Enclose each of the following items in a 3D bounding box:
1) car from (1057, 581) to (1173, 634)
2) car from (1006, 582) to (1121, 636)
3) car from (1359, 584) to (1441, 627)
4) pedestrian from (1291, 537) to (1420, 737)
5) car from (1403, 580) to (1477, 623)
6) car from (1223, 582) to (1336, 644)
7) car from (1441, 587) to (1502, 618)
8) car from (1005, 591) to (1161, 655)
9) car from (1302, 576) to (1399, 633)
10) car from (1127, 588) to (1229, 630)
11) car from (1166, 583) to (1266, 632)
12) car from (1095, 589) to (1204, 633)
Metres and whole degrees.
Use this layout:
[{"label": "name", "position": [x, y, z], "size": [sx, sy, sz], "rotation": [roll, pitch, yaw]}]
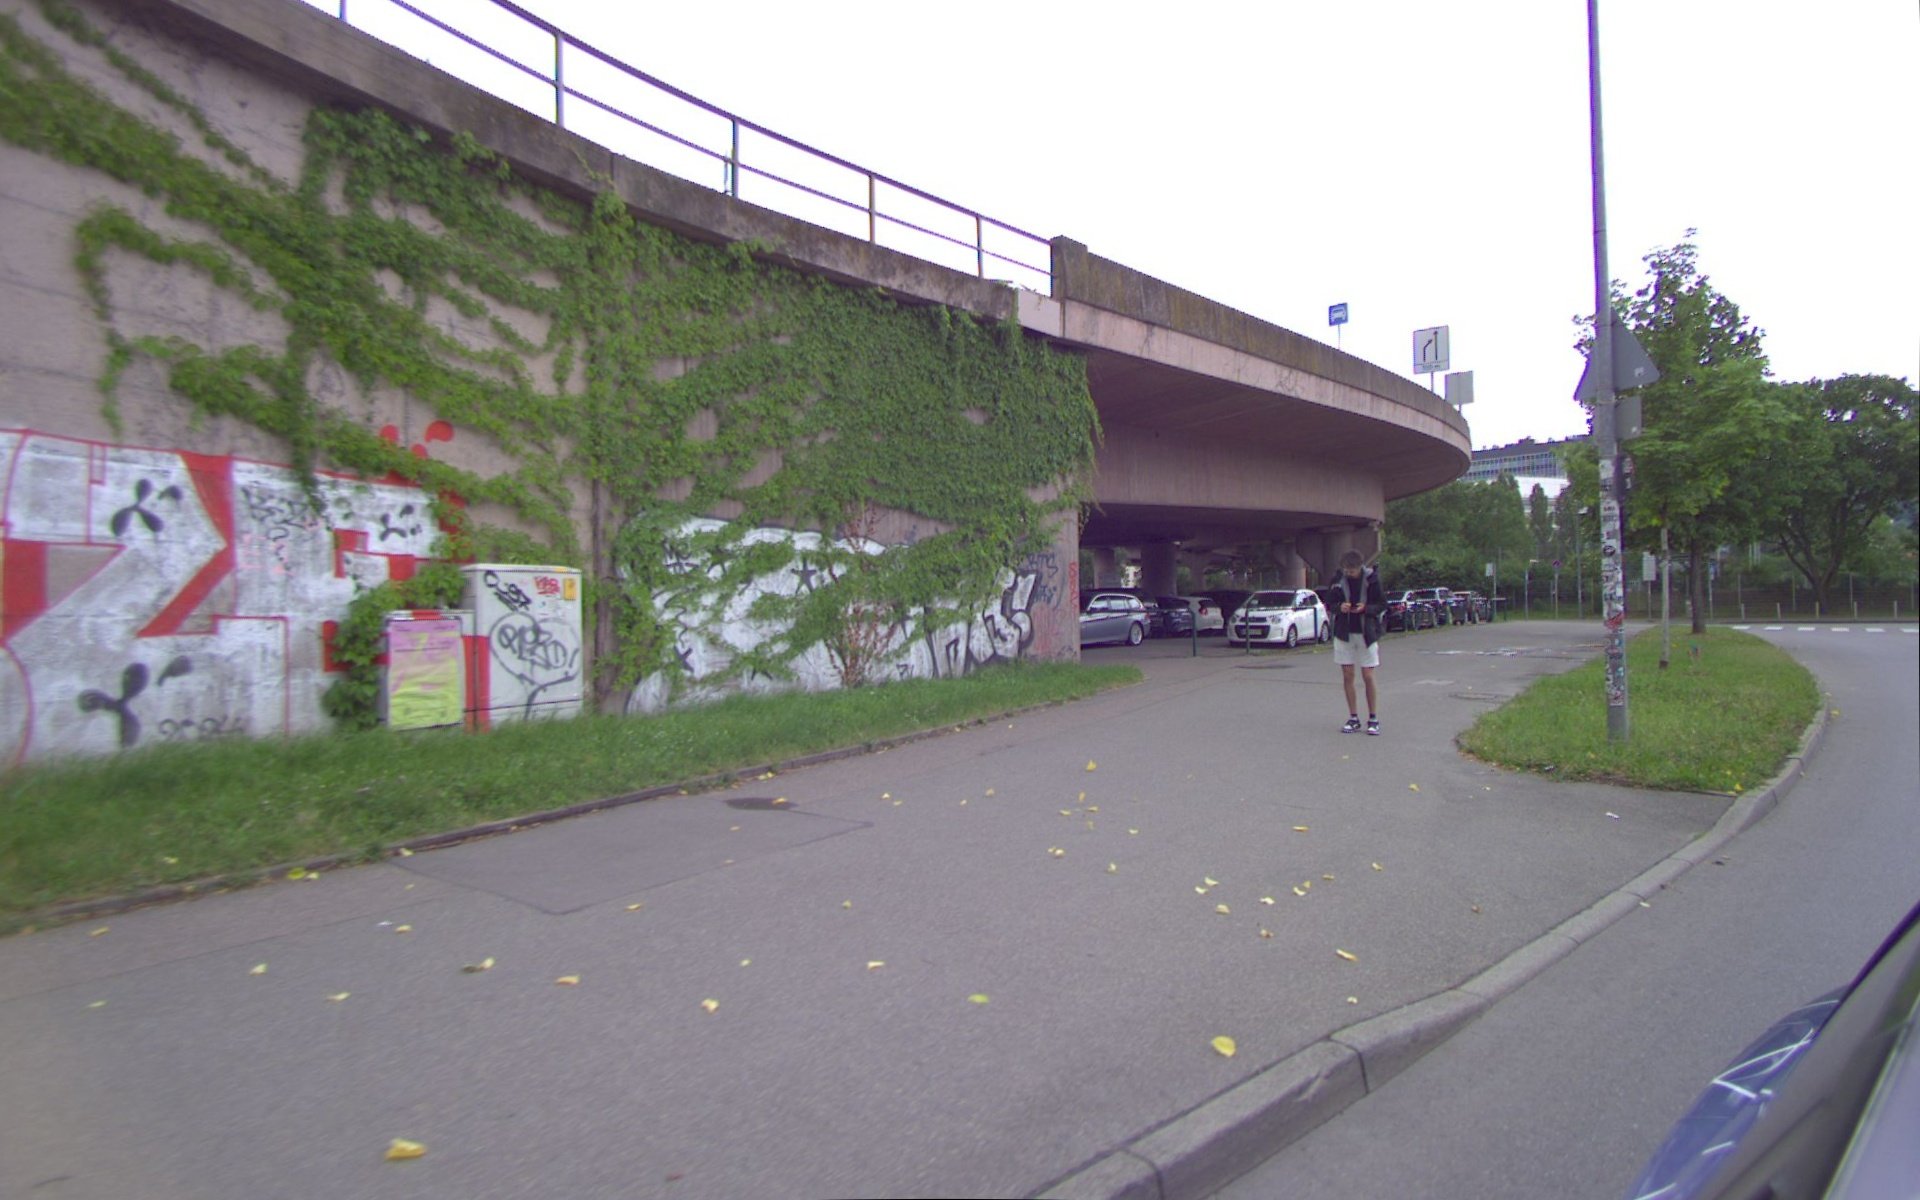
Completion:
[{"label": "car", "position": [4.887, 0.253, 32.156], "size": [3.309, 1.618, 1.641], "rotation": [-1, -1, 45]}, {"label": "car", "position": [3.101, 0.287, 30.637], "size": [1.435, 1.531, 3.311], "rotation": [3, -3, -44]}, {"label": "car", "position": [14.931, 0.186, 34.266], "size": [1.618, 1.333, 3.725], "rotation": [-4, -2, 38]}, {"label": "pedestrian", "position": [4.044, 0.336, 10.330], "size": [0.819, 1.903, 1.162], "rotation": [2, 1, 43]}, {"label": "car", "position": [18.221, 0.063, 38.332], "size": [1.618, 1.392, 4.121], "rotation": [-7, -4, 37]}, {"label": "car", "position": [8.182, 0.297, 25.786], "size": [1.603, 1.463, 3.427], "rotation": [-1, 0, 39]}, {"label": "car", "position": [21.621, 0.097, 42.674], "size": [1.618, 1.254, 4.004], "rotation": [-1, -1, 37]}, {"label": "car", "position": [3.202, 0.514, 25.744], "size": [1.637, 1.403, 4.405], "rotation": [1, 2, 44]}, {"label": "car", "position": [11.613, 0.124, 29.941], "size": [1.606, 1.550, 3.864], "rotation": [-3, -2, 38]}, {"label": "car", "position": [7.653, 0.341, 35.645], "size": [3.309, 1.427, 1.330], "rotation": [-2, -1, 45]}, {"label": "car", "position": [9.396, 0.306, 37.307], "size": [3.309, 1.709, 1.413], "rotation": [-2, -1, 45]}, {"label": "car", "position": [6.301, 0.373, 33.812], "size": [3.309, 1.416, 1.527], "rotation": [-1, -1, 45]}]
